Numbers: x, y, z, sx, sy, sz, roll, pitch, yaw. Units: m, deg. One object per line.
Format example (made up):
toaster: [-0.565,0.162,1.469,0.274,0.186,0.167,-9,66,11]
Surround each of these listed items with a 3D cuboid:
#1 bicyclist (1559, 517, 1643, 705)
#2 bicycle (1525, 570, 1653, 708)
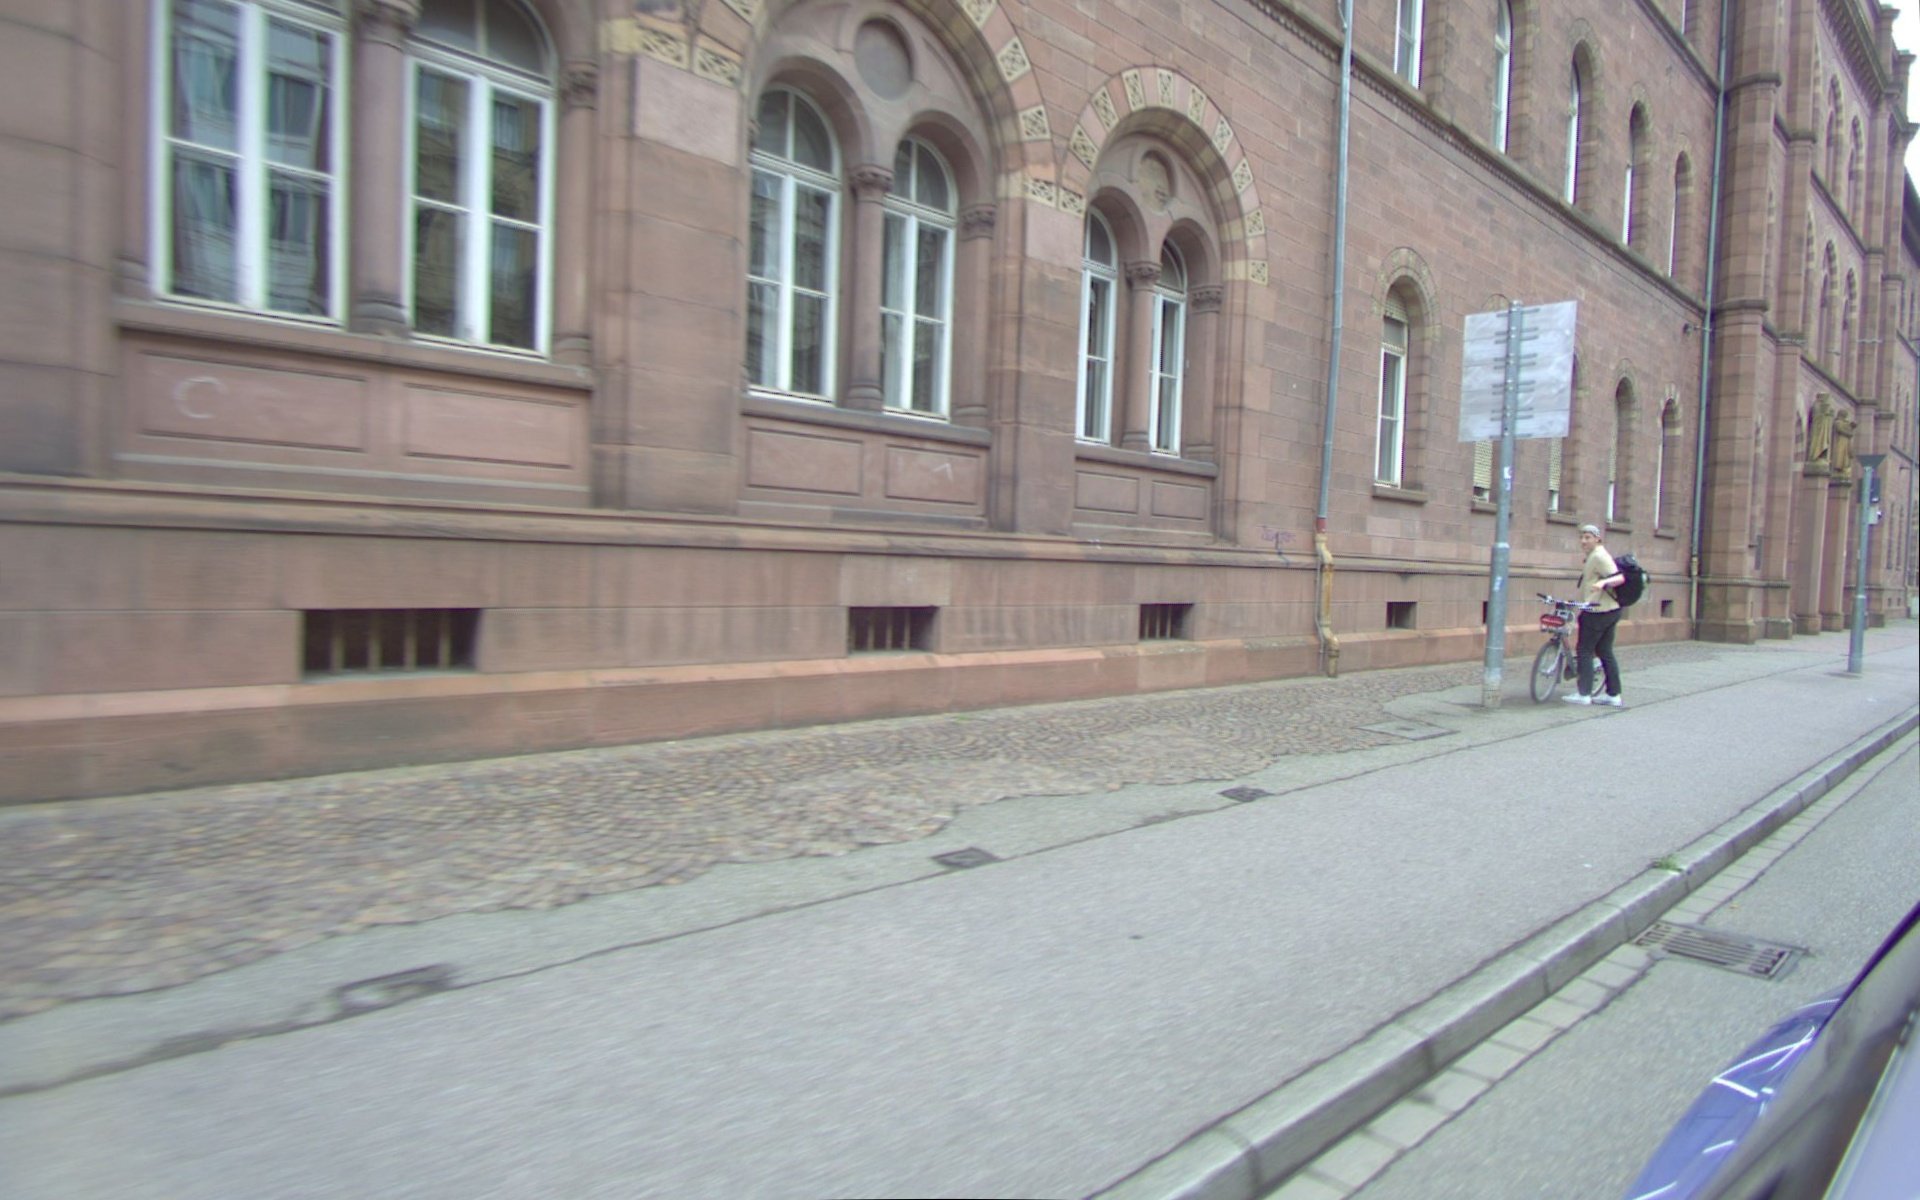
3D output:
bicyclist: [6.627,0.093,10.470,0.443,1.880,0.530,0,4,-41]
bicycle: [6.618,0.358,10.592,2.188,1.291,0.446,-1,5,-42]
